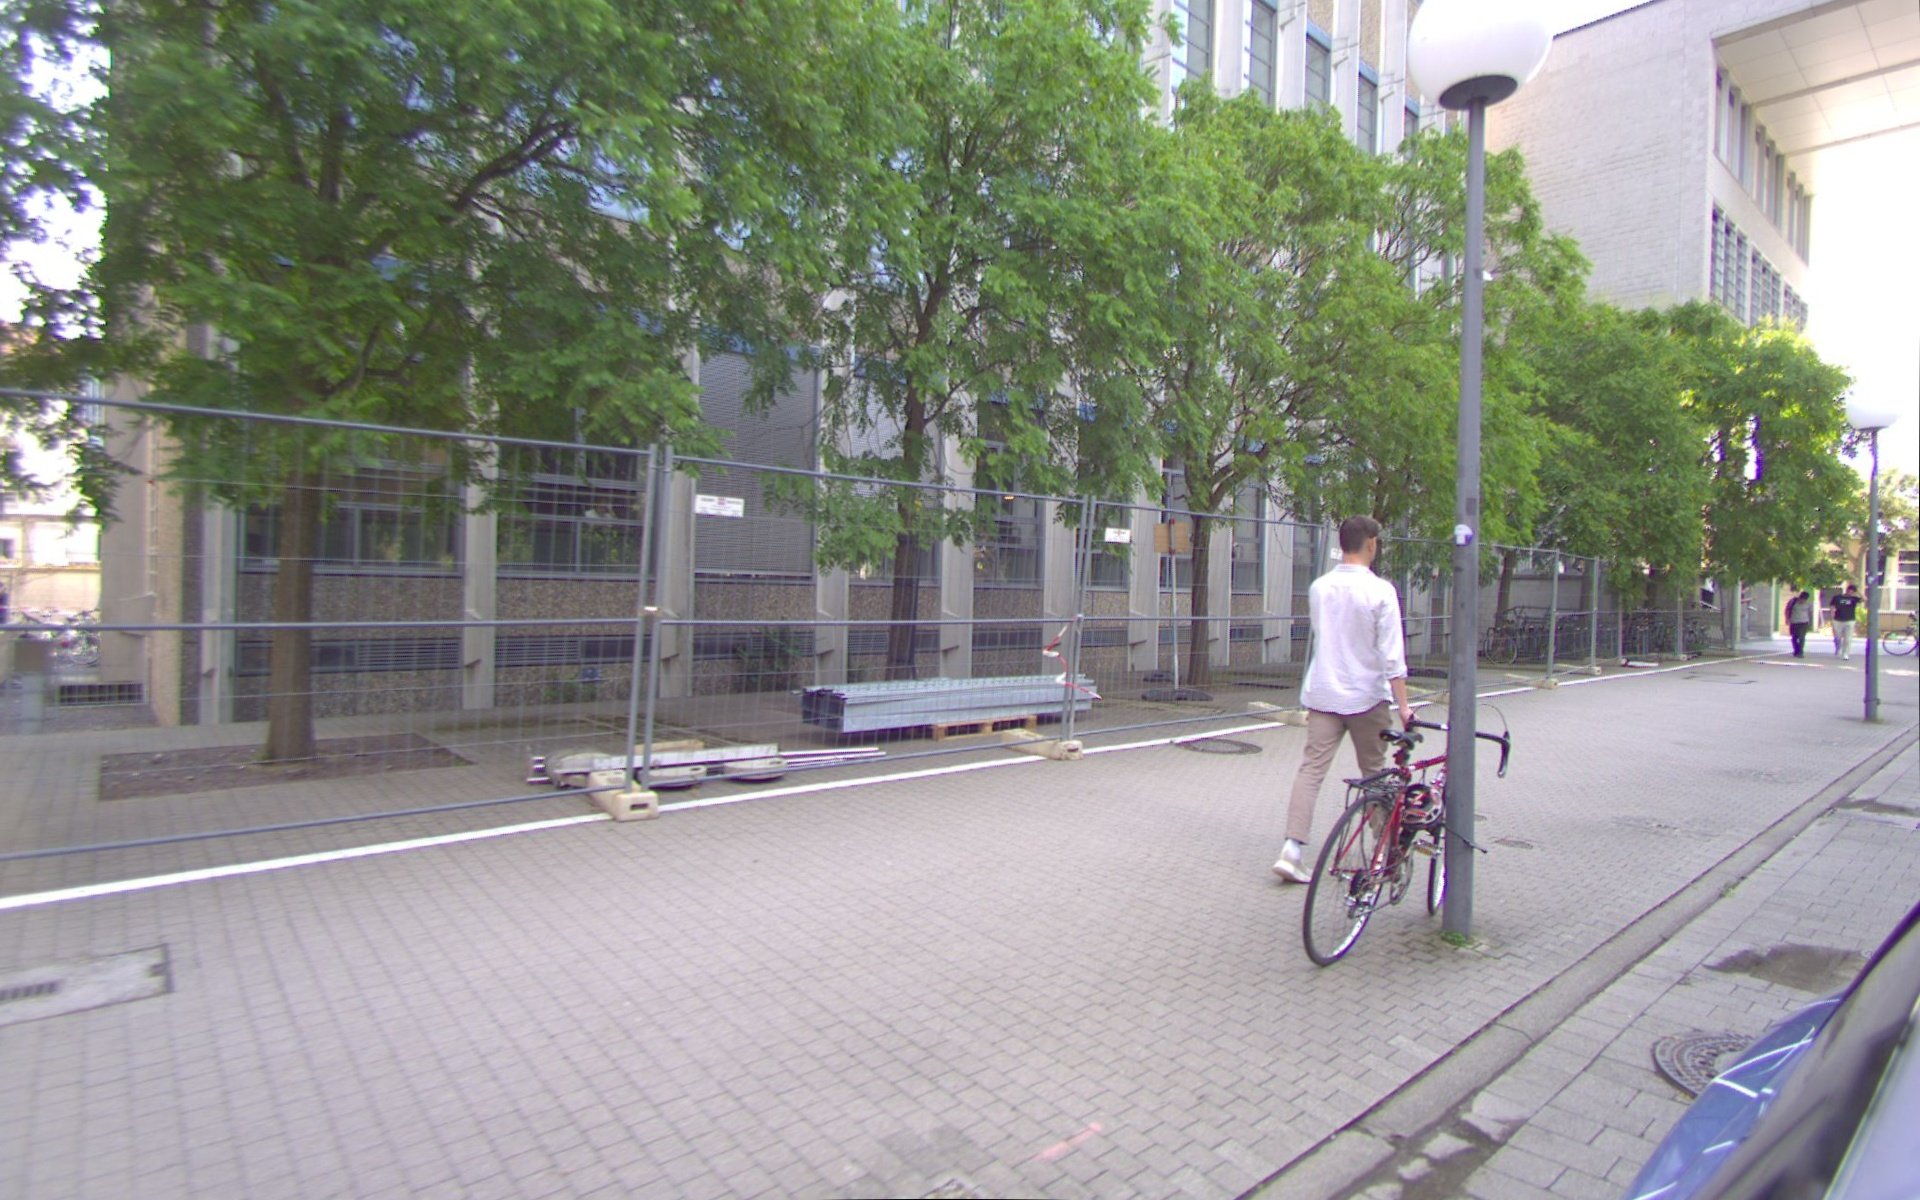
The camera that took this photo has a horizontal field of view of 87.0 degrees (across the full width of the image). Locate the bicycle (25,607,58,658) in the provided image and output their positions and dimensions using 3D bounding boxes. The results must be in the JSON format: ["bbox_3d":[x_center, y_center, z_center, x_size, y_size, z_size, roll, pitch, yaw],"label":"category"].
[{"bbox_3d":[-22.319,0.784,24.614,0.536,1.184,2.063,1,-2,-41],"label":"bicycle"}]

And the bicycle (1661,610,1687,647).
[{"bbox_3d":[18.367,0.735,26.028,1.424,0.917,0.291,0,0,-45],"label":"bicycle"}]

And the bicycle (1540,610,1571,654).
[{"bbox_3d":[13.044,0.689,22.142,0.290,0.917,1.779,0,0,40],"label":"bicycle"}]

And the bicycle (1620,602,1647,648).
[{"bbox_3d":[16.905,0.617,25.401,1.424,1.108,0.291,0,0,-45],"label":"bicycle"}]

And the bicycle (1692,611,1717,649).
[{"bbox_3d":[18.707,0.750,25.408,1.424,0.917,0.291,0,0,-45],"label":"bicycle"}]

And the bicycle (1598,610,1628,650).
[{"bbox_3d":[15.384,0.696,23.833,1.424,0.917,0.291,0,0,-45],"label":"bicycle"}]

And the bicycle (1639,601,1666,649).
[{"bbox_3d":[17.198,0.609,25.136,1.424,1.142,0.291,0,0,-45],"label":"bicycle"}]

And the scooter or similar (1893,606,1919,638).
[{"bbox_3d":[35.714,0.827,37.832,0.436,1.166,1.158,1,0,-36],"label":"scooter or similar"}]

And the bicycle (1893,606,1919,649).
[{"bbox_3d":[24.401,0.702,25.168,1.739,1.052,0.442,2,-1,45],"label":"bicycle"}]

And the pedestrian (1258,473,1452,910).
[{"bbox_3d":[1.969,0.397,5.010,0.777,1.869,1.108,-1,-1,25],"label":"pedestrian"}]

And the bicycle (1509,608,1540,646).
[{"bbox_3d":[14.116,0.673,25.281,1.424,0.917,0.291,0,0,-45],"label":"bicycle"}]

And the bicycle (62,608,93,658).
[{"bbox_3d":[-21.806,0.819,25.006,0.536,1.184,2.063,1,-2,-41],"label":"bicycle"}]

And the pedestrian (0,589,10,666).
[{"bbox_3d":[-20.700,0.585,21.618,0.553,1.634,0.532,0,-1,-40],"label":"pedestrian"}]

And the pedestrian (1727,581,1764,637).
[{"bbox_3d":[26.138,0.304,33.690,0.955,1.837,0.759,-1,-1,38],"label":"pedestrian"}]

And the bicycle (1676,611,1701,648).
[{"bbox_3d":[18.495,0.741,25.672,1.424,0.917,0.291,0,0,-45],"label":"bicycle"}]

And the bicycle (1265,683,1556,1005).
[{"bbox_3d":[1.889,0.878,4.112,1.702,0.947,0.396,0,2,-42],"label":"bicycle"}]

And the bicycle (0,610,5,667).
[{"bbox_3d":[-20.671,0.812,21.452,0.536,1.184,1.999,1,-2,-41],"label":"bicycle"}]

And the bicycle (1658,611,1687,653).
[{"bbox_3d":[16.257,0.710,23.088,1.424,0.917,0.291,0,0,-45],"label":"bicycle"}]

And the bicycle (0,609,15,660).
[{"bbox_3d":[-22.919,0.826,24.087,0.536,1.184,1.999,1,-2,-41],"label":"bicycle"}]

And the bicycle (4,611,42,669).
[{"bbox_3d":[-20.203,0.851,21.842,0.536,1.184,1.999,1,-2,-41],"label":"bicycle"}]

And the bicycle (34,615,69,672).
[{"bbox_3d":[-19.889,0.934,22.167,0.536,1.184,1.999,1,-2,-41],"label":"bicycle"}]

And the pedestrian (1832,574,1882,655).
[{"bbox_3d":[20.832,0.334,23.519,0.697,1.826,0.873,1,0,31],"label":"pedestrian"}]

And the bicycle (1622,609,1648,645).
[{"bbox_3d":[17.808,0.710,26.695,1.424,0.917,0.291,0,0,-45],"label":"bicycle"}]

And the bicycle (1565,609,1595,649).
[{"bbox_3d":[14.914,0.684,24.319,1.424,0.917,0.291,0,0,-45],"label":"bicycle"}]

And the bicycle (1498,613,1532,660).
[{"bbox_3d":[11.423,0.733,20.809,0.290,0.917,1.595,0,0,40],"label":"bicycle"}]

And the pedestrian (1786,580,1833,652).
[{"bbox_3d":[20.266,0.375,24.160,0.697,1.676,0.873,1,0,31],"label":"pedestrian"}]
